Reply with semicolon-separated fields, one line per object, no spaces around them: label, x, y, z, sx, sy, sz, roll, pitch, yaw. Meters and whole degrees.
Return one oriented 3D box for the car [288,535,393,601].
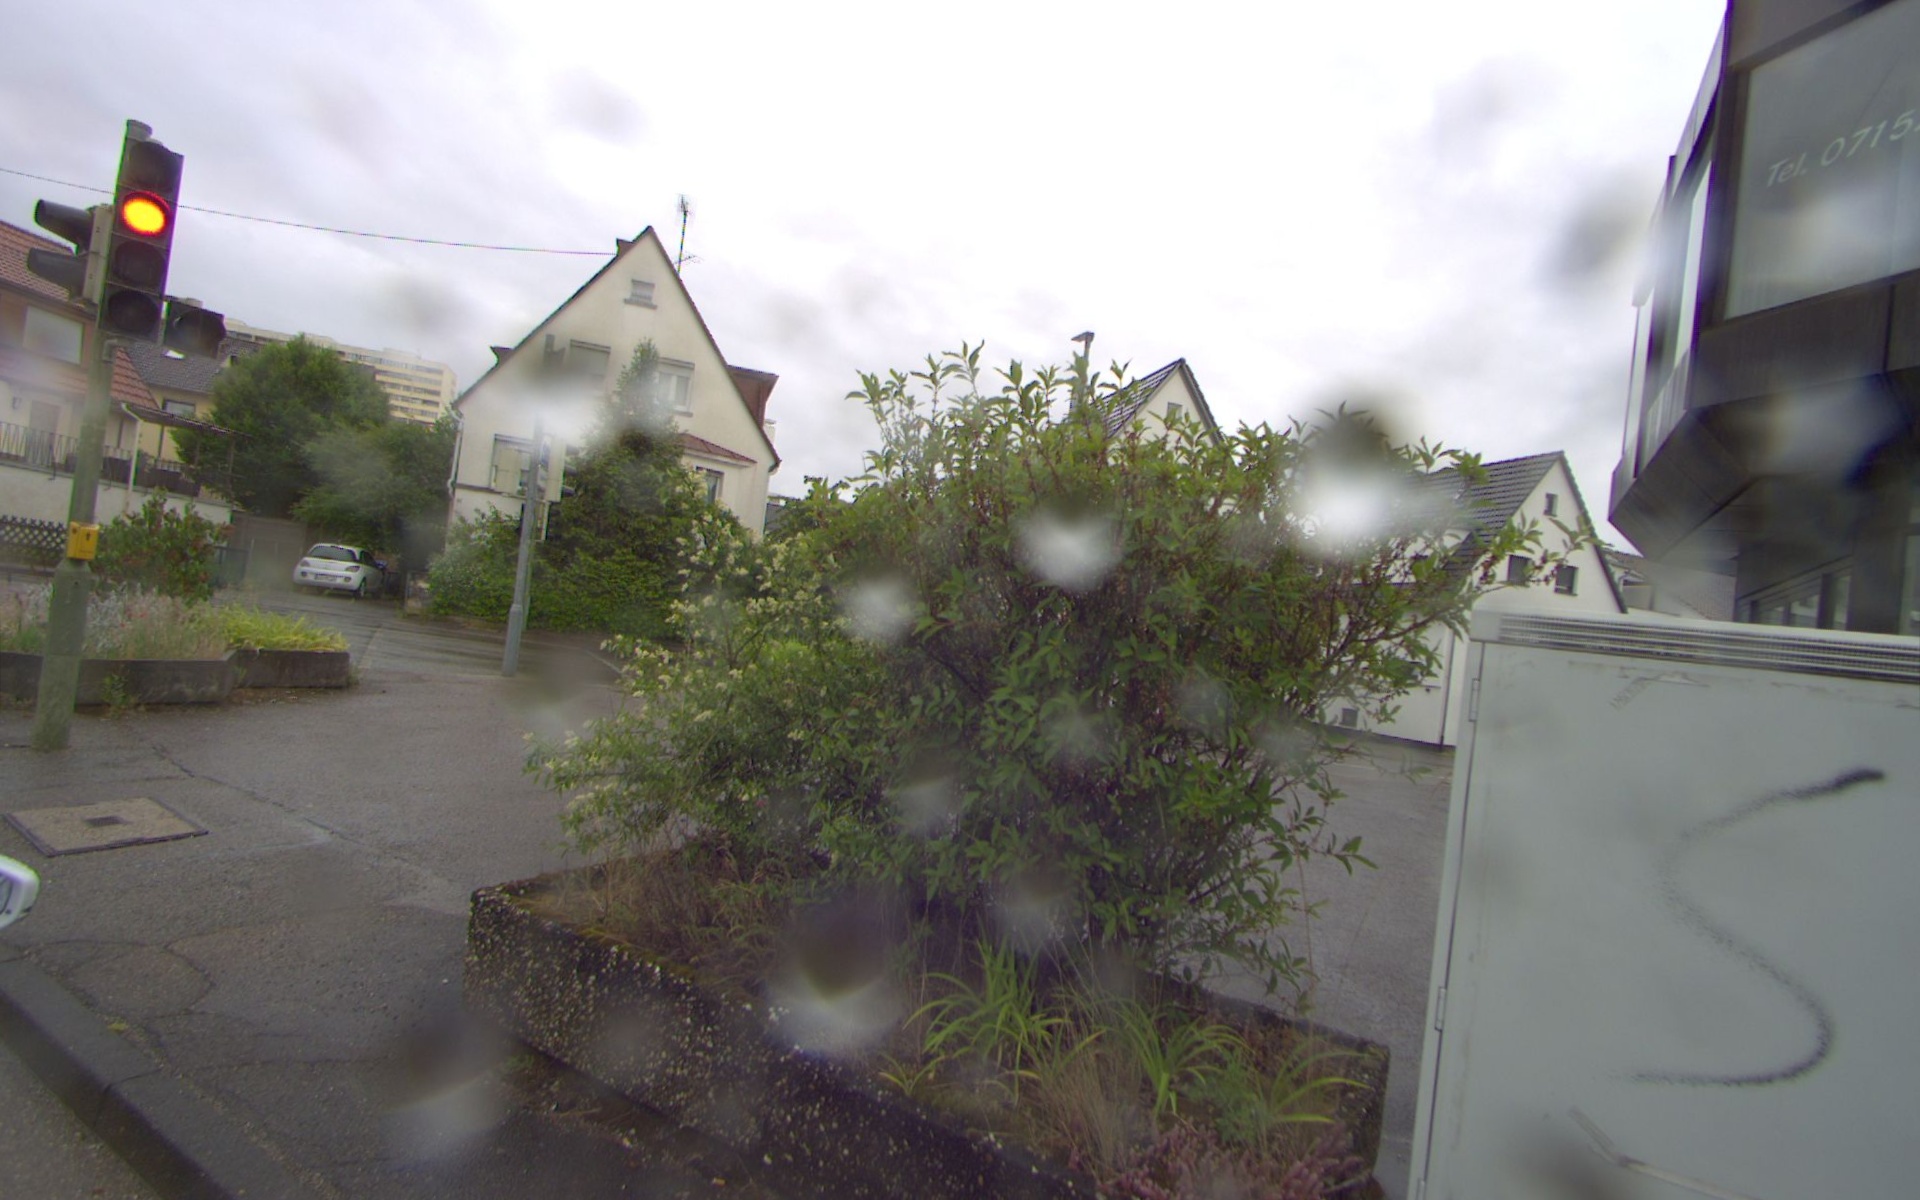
car;-18.119;-0.910;29.593;1.722;1.532;3.982;9;-2;-21
